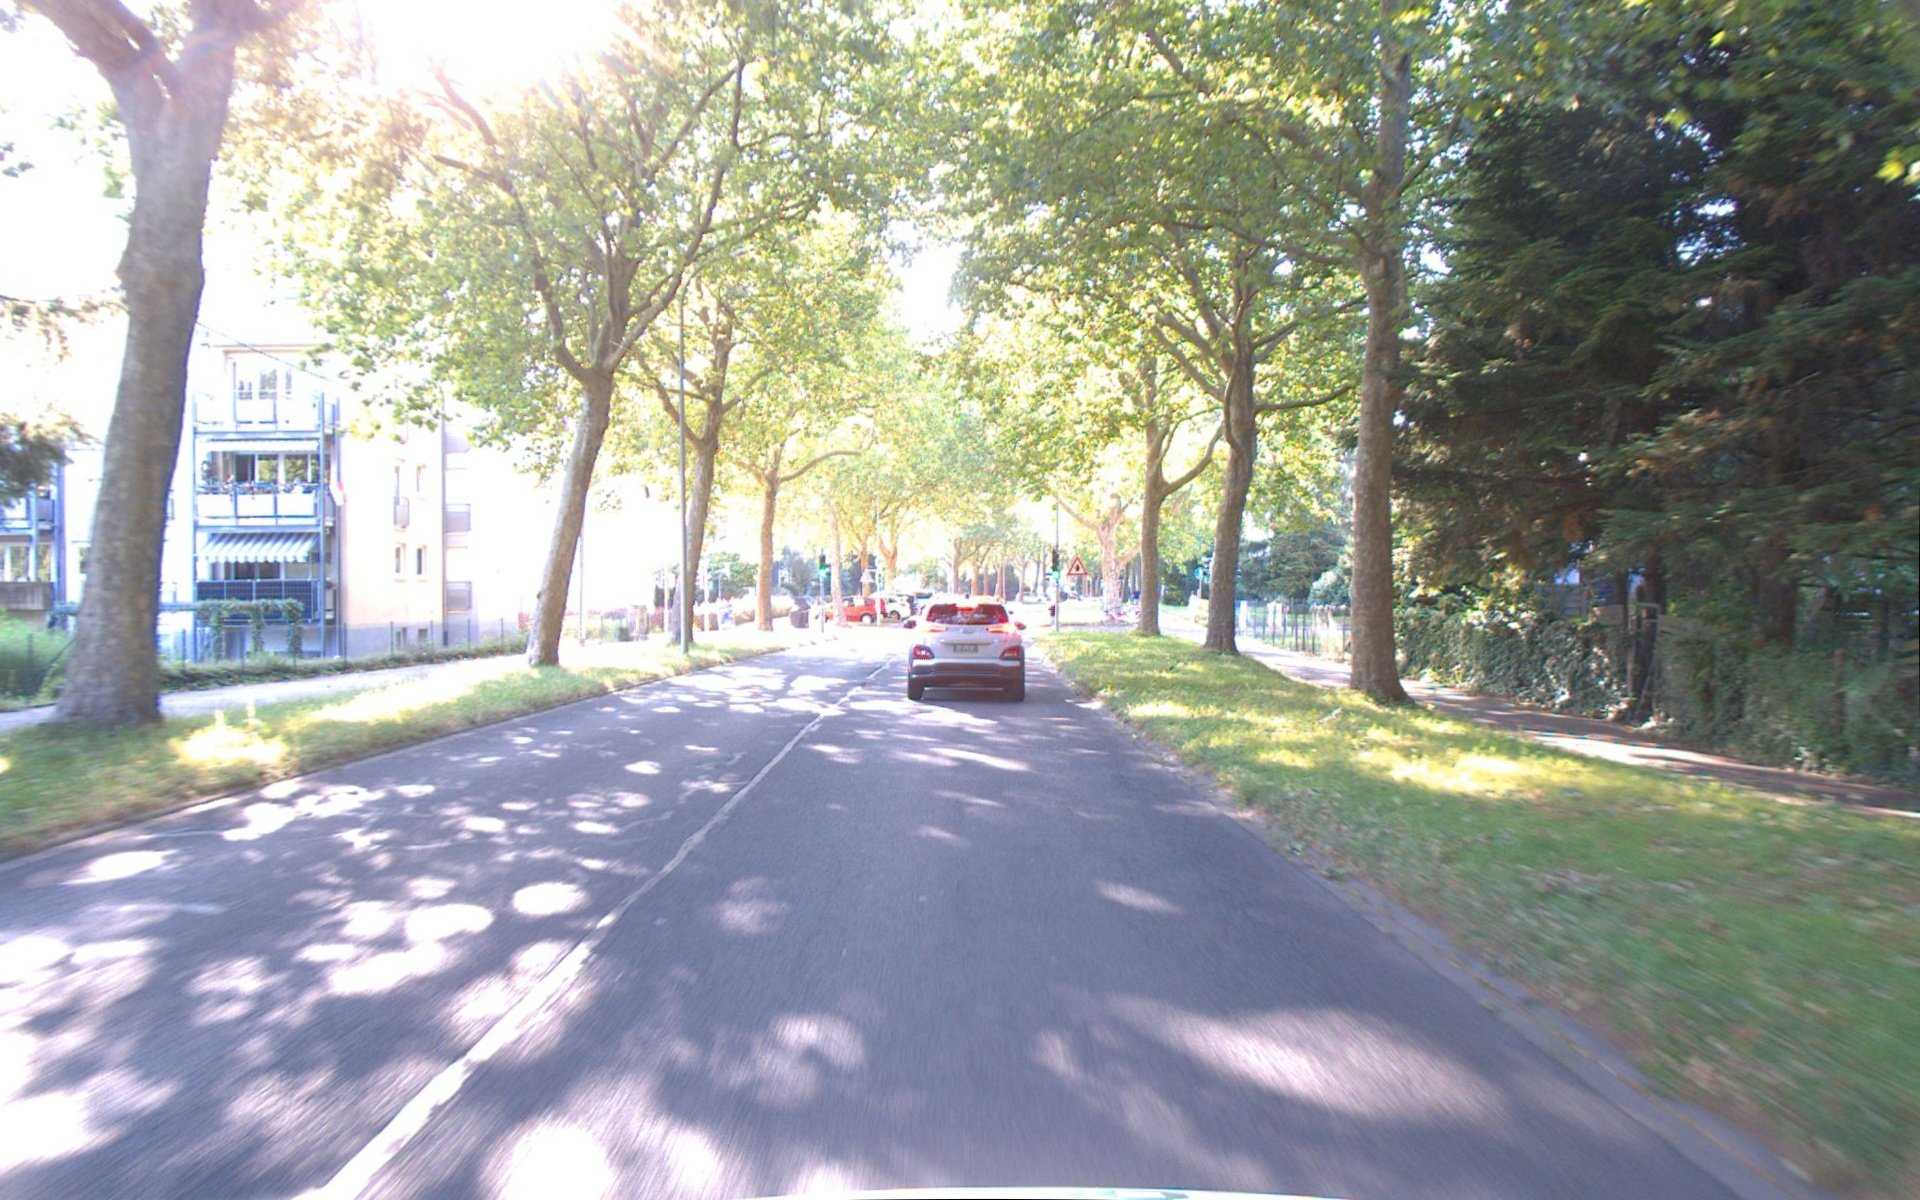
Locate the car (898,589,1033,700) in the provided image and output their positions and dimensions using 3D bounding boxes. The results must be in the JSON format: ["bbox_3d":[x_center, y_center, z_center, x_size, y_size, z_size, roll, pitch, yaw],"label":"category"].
[{"bbox_3d":[0.114,0.666,26.245,1.952,1.602,4.000,1,0,1],"label":"car"}]

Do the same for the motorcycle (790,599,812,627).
[{"bbox_3d":[-8.308,0.674,86.740,0.828,1.403,2.776,1,0,1],"label":"motorcycle"}]

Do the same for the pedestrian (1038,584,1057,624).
[{"bbox_3d":[4.546,0.223,86.010,0.849,2.049,0.814,1,0,9],"label":"pedestrian"}]

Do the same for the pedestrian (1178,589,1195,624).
[{"bbox_3d":[11.436,0.339,83.581,0.816,1.766,0.886,1,-1,10],"label":"pedestrian"}]

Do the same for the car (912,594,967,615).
[{"bbox_3d":[-1.505,0.334,120.731,3.904,1.504,2.000,1,-1,2],"label":"car"}]

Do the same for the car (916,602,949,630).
[{"bbox_3d":[-1.549,0.891,93.442,1.653,1.462,3.683,1,1,2],"label":"car"}]

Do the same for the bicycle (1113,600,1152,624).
[{"bbox_3d":[8.744,0.611,83.754,0.600,1.184,2.117,1,-1,-42],"label":"bicycle"}]

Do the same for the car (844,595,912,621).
[{"bbox_3d":[-5.016,0.498,101.096,3.903,1.504,2.001,1,-1,4],"label":"car"}]

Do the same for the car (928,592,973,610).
[{"bbox_3d":[-0.810,0.121,144.508,3.904,1.504,2.000,1,-1,2],"label":"car"}]

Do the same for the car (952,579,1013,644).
[{"bbox_3d":[0.714,0.370,55.165,1.953,2.049,3.999,1,0,-1],"label":"car"}]

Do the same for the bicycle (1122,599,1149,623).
[{"bbox_3d":[9.031,0.570,85.187,0.594,1.204,2.108,1,-1,-18],"label":"bicycle"}]

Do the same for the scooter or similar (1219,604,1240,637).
[{"bbox_3d":[10.730,0.824,65.921,0.538,1.280,2.314,1,0,2],"label":"scooter or similar"}]

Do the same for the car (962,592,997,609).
[{"bbox_3d":[2.132,0.003,182.533,3.600,1.840,1.746,1,0,-8],"label":"car"}]

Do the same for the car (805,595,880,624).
[{"bbox_3d":[-6.444,0.528,91.049,3.904,1.504,2.000,1,-1,2],"label":"car"}]

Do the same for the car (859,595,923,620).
[{"bbox_3d":[-4.383,0.488,105.925,3.904,1.504,2.000,1,-1,2],"label":"car"}]
